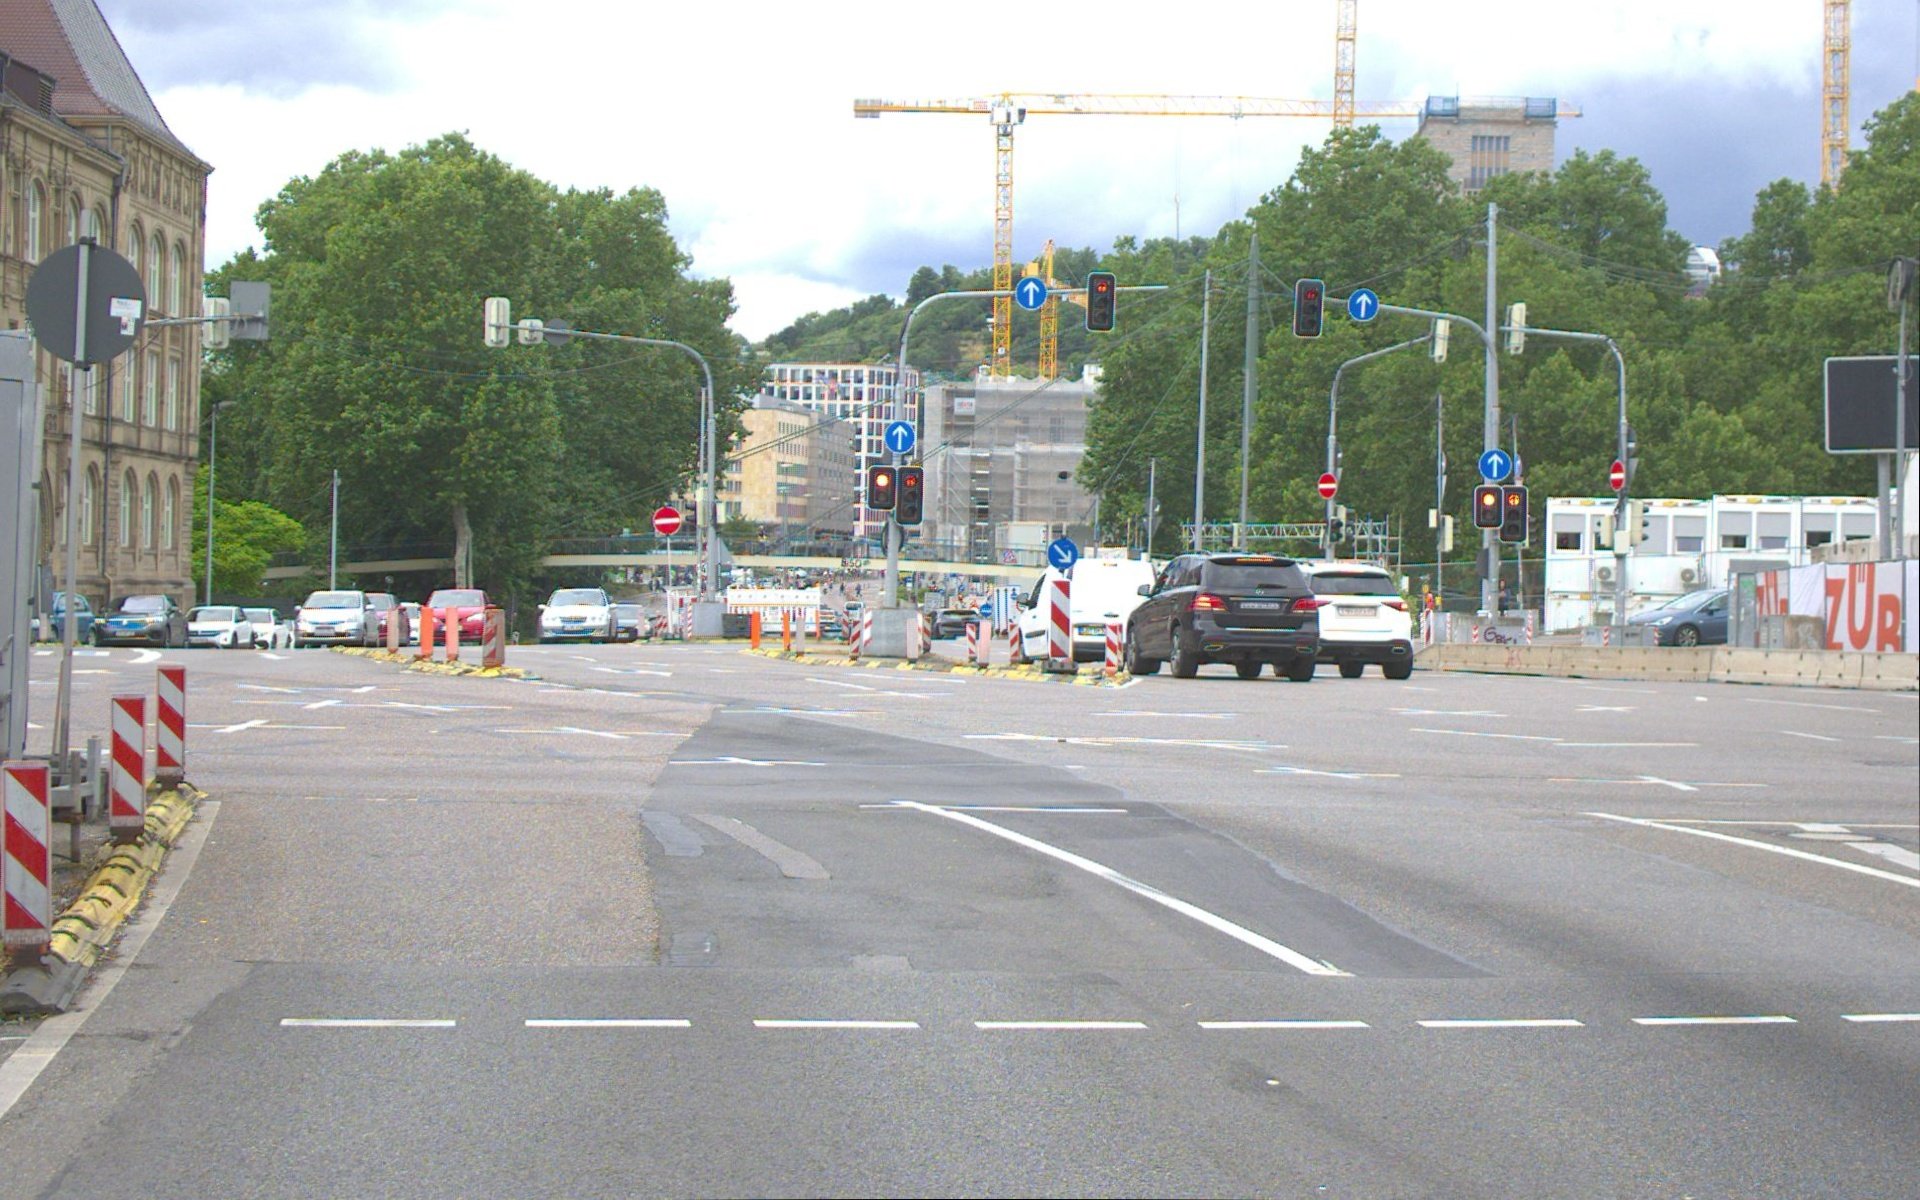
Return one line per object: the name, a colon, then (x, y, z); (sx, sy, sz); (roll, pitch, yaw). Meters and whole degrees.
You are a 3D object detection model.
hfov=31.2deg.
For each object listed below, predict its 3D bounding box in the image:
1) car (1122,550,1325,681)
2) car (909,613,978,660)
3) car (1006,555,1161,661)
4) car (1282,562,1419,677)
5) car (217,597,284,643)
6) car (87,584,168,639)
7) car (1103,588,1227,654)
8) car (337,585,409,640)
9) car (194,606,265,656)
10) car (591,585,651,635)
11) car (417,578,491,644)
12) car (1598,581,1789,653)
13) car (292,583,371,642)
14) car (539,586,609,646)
car: (3.663, 0.186, 48.485); (1.831, 1.740, 4.257); (1, 1, -10)
car: (-0.538, 1.158, 110.641); (1.675, 1.393, 3.684); (1, 1, -9)
car: (1.953, 0.103, 55.531); (1.816, 1.619, 4.001); (1, 1, -8)
car: (5.989, 0.270, 53.051); (1.676, 1.696, 3.374); (1, 1, -1)
car: (-22.395, 0.648, 108.580); (1.675, 1.393, 3.683); (1, -1, -6)
car: (-22.342, 0.304, 92.359); (1.675, 1.393, 3.684); (1, 1, -7)
car: (4.506, 0.455, 75.993); (1.675, 1.393, 3.087); (1, 1, -19)
car: (-15.661, 0.331, 91.795); (1.675, 1.393, 3.684); (1, 1, -7)
car: (-21.547, 0.894, 101.511); (1.675, 1.393, 3.684); (1, 1, -7)
car: (-9.921, 0.287, 100.441); (1.675, 1.393, 3.684); (1, 1, -7)
car: (-12.447, 0.254, 84.724); (1.675, 1.575, 3.684); (1, 1, -7)
car: (17.171, 0.397, 80.539); (3.986, 1.619, 1.823); (1, 0, -19)
car: (-15.641, 0.291, 85.633); (1.675, 1.393, 3.684); (1, 1, -7)
car: (-9.555, 0.382, 85.030); (1.675, 1.393, 3.684); (1, 1, -7)
